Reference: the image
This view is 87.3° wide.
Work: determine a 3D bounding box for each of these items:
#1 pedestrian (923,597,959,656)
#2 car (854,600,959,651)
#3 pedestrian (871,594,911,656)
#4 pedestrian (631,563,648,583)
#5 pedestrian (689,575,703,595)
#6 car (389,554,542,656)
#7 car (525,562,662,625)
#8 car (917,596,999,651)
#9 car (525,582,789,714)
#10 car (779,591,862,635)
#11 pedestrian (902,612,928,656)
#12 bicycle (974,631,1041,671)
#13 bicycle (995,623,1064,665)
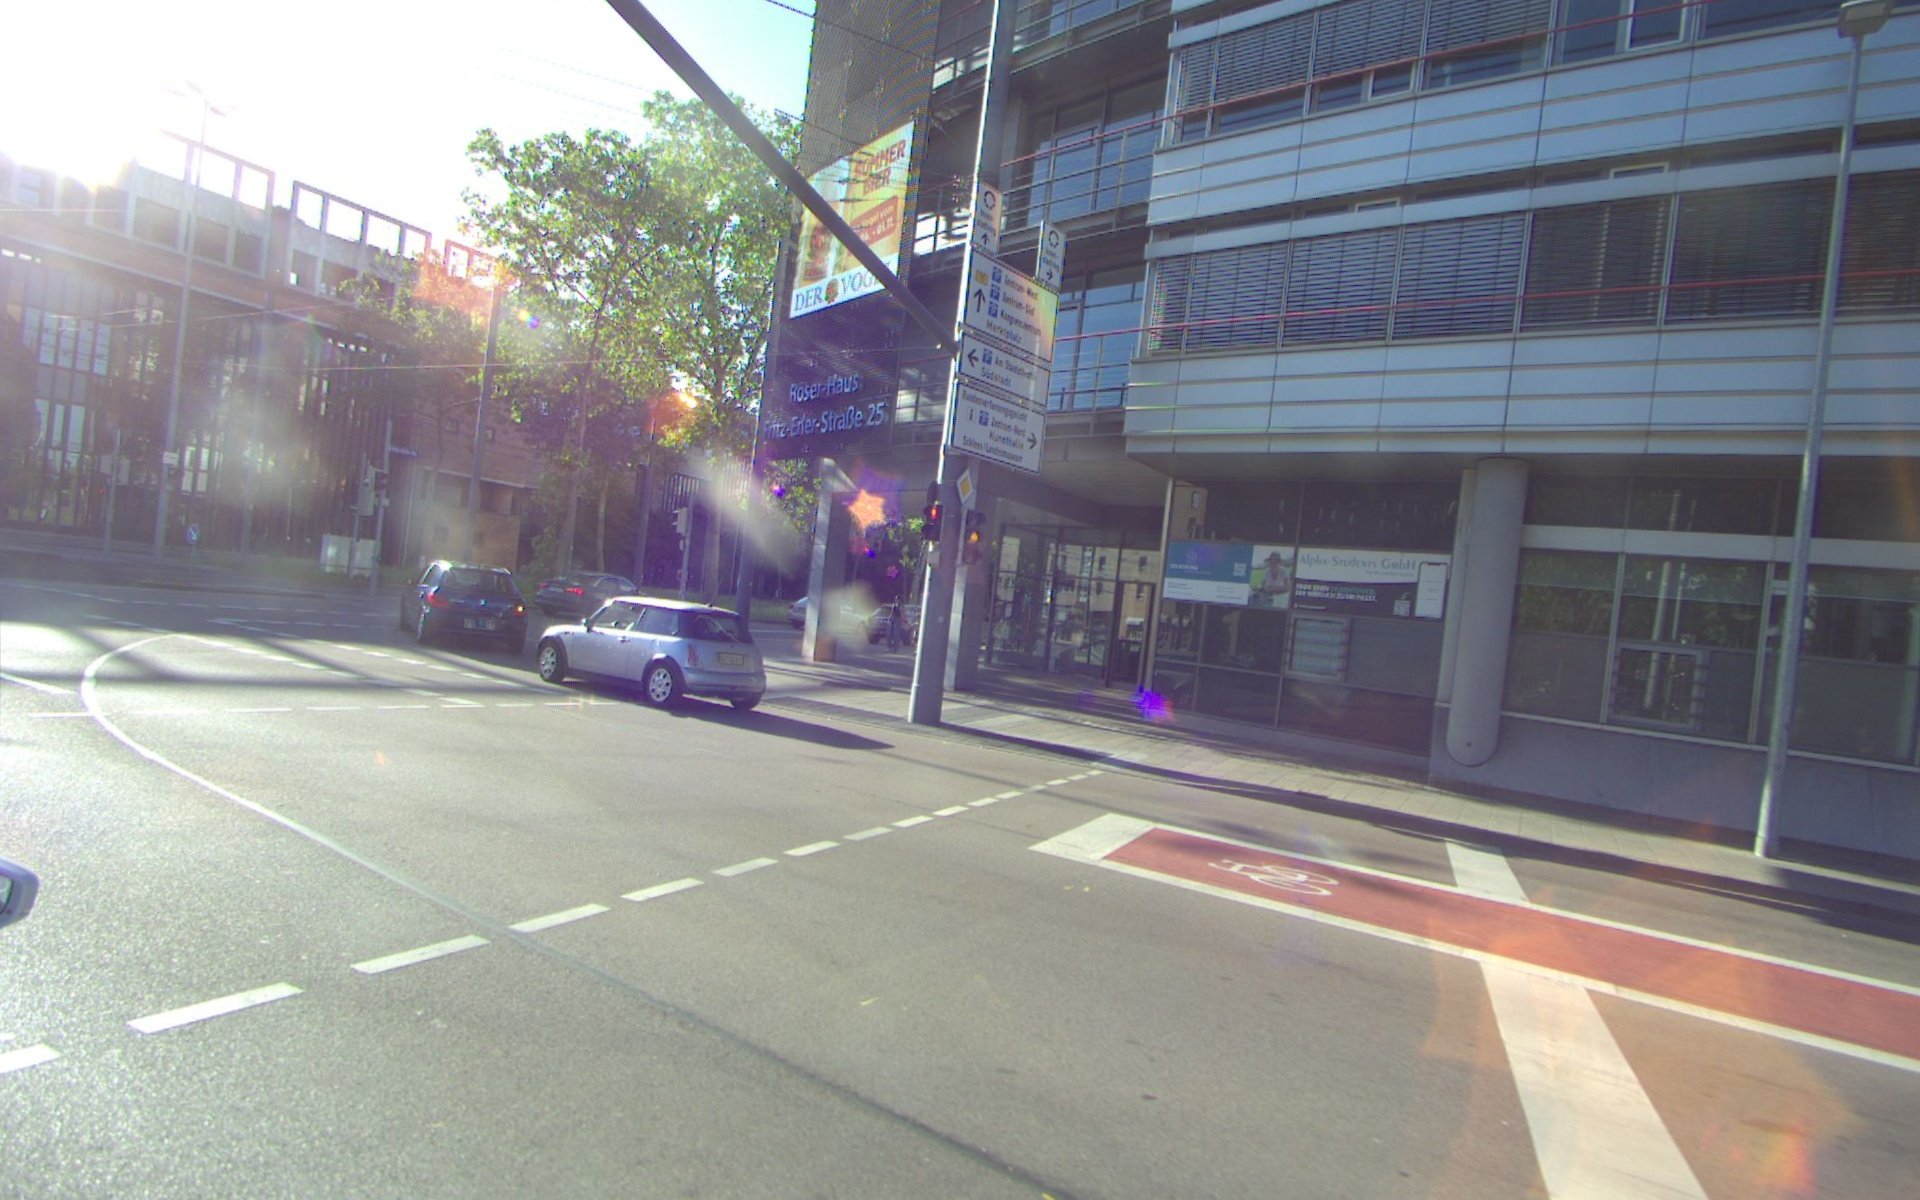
[{"bbox_3d":[-0.603,0.833,31.873,0.578,1.754,0.790,6,-2,40],"label":"pedestrian"},{"bbox_3d":[-1.962,0.977,37.687,1.837,1.492,3.968,6,-1,33],"label":"car"},{"bbox_3d":[-1.990,0.729,28.980,0.649,1.660,0.792,7,0,28],"label":"pedestrian"},{"bbox_3d":[-24.330,-2.045,76.382,0.797,1.401,0.687,7,0,23],"label":"pedestrian"},{"bbox_3d":[-22.153,-1.256,84.430,0.797,1.626,0.687,7,1,9],"label":"pedestrian"},{"bbox_3d":[-9.357,0.046,18.866,1.851,1.493,3.939,7,-1,-36],"label":"car"},{"bbox_3d":[-10.746,-0.138,29.834,1.668,1.457,4.022,6,-2,16],"label":"car"},{"bbox_3d":[-0.018,1.055,43.086,1.833,2.040,4.458,7,-1,21],"label":"car"},{"bbox_3d":[-4.364,0.667,14.358,3.480,1.405,1.663,6,-2,34],"label":"car"},{"bbox_3d":[-5.811,0.593,42.487,1.669,1.492,3.982,7,-1,20],"label":"car"},{"bbox_3d":[-1.302,0.991,29.126,0.435,1.225,0.461,7,0,28],"label":"pedestrian"},{"bbox_3d":[1.863,2.007,39.352,2.349,1.228,0.776,8,0,14],"label":"bicycle"},{"bbox_3d":[2.561,1.635,37.308,2.357,1.228,0.773,7,0,35],"label":"bicycle"}]
